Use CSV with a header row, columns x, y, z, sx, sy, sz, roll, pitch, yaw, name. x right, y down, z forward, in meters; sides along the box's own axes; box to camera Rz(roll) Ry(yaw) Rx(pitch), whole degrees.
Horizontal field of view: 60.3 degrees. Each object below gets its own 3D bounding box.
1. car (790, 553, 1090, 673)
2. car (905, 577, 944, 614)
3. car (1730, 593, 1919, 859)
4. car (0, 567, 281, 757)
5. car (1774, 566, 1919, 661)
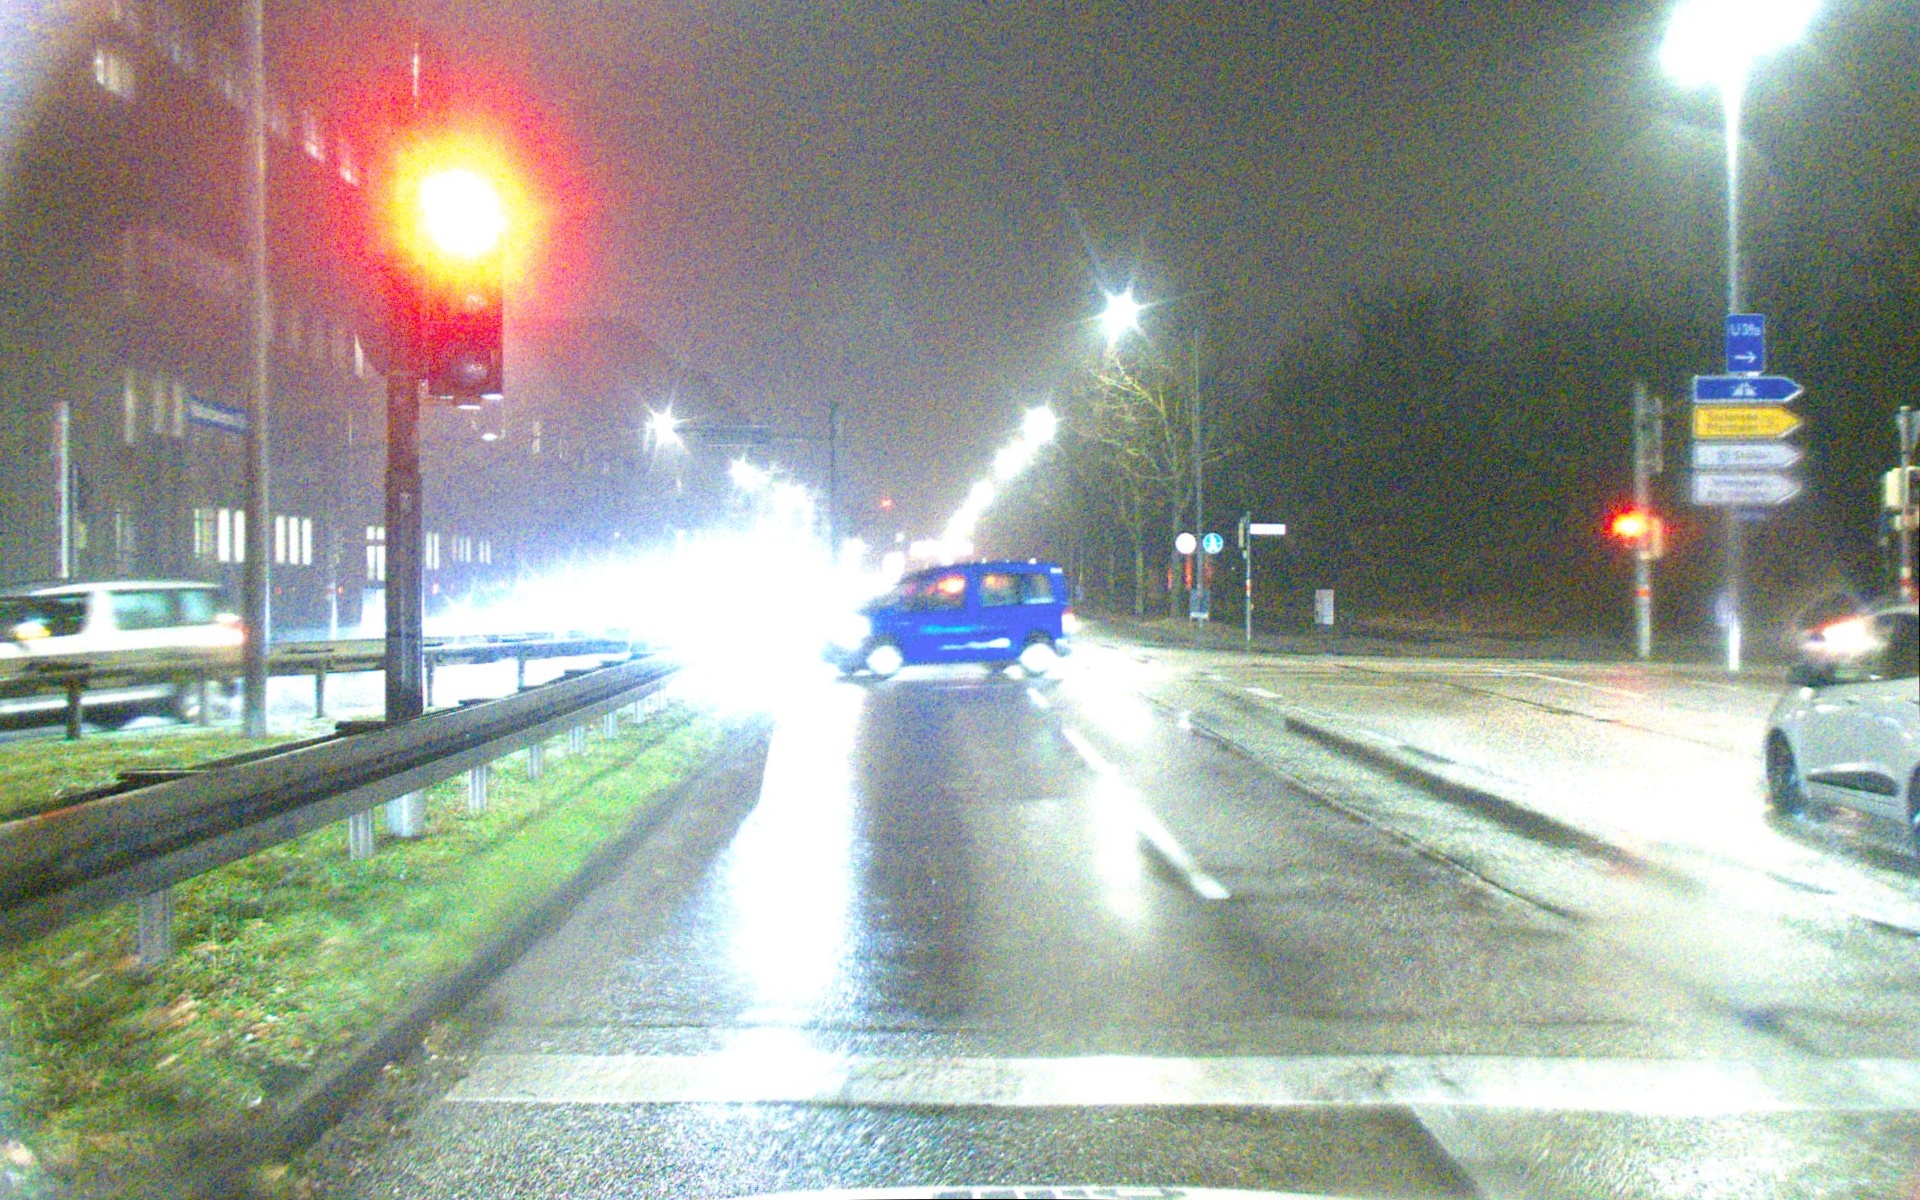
x,y,z,sx,sy,sz,roll,pitch,yaw,name
-0.317,0.229,26.406,4.432,1.780,1.846,1,0,-24,car
-2.034,-0.242,93.375,1.954,2.049,4.628,1,0,-4,car
6.250,0.723,10.170,1.599,1.484,3.595,1,0,5,car
-9.326,0.578,16.683,1.867,1.771,4.391,1,0,28,car
16.666,0.252,28.858,3.982,1.616,1.913,0,-2,5,car
